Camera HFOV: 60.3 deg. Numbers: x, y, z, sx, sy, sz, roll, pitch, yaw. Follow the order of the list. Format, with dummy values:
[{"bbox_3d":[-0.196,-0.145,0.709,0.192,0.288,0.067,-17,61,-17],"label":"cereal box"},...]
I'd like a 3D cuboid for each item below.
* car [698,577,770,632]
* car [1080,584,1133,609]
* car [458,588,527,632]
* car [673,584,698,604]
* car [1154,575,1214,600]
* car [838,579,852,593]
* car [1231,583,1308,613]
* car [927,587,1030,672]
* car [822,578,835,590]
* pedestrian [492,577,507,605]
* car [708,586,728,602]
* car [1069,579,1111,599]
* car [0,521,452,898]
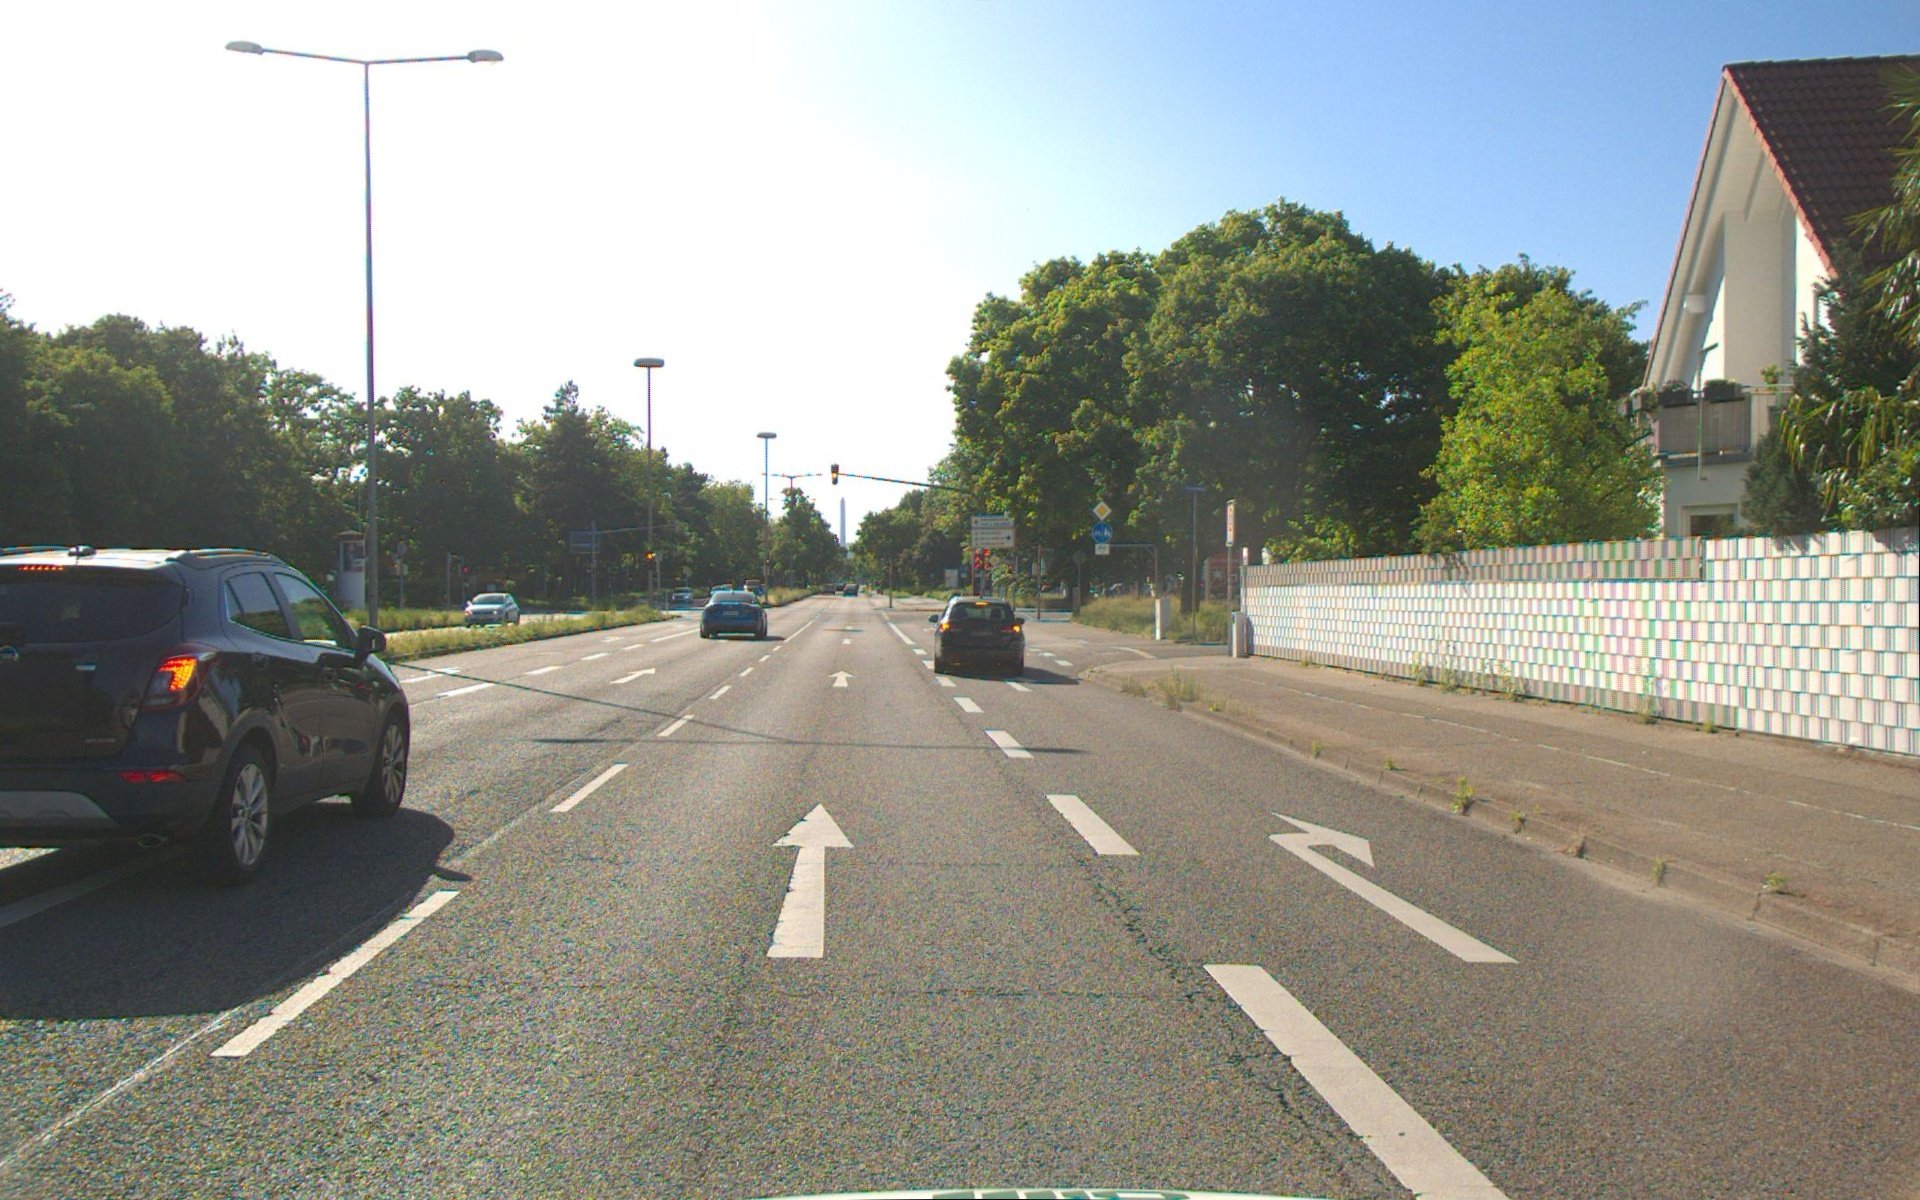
[{"bbox_3d":[-6.898,0.162,50.814,1.851,1.579,3.997,1,-1,-4],"label":"car"},{"bbox_3d":[11.112,-0.252,125.667,3.672,1.714,1.687,4,-1,-30],"label":"car"},{"bbox_3d":[-20.286,0.463,71.896,1.874,1.733,4.404,3,-1,-3],"label":"car"},{"bbox_3d":[-24.980,-0.554,150.456,1.827,1.713,4.257,0,0,-3],"label":"car"},{"bbox_3d":[15.834,-0.861,116.738,3.784,1.508,1.792,4,-1,-23],"label":"car"},{"bbox_3d":[-14.679,-1.725,210.660,1.698,1.612,3.837,3,-1,-4],"label":"car"},{"bbox_3d":[16.818,-0.116,89.975,3.751,1.485,1.737,2,0,-3],"label":"car"},{"bbox_3d":[0.320,0.586,32.876,1.721,1.535,3.805,2,-1,-4],"label":"car"},{"bbox_3d":[-19.066,-2.289,240.160,1.788,1.643,3.837,0,0,-4],"label":"car"},{"bbox_3d":[-32.315,-0.627,116.070,0.828,1.868,0.549,2,-3,0],"label":"pedestrian"},{"bbox_3d":[-27.567,-0.676,188.390,1.827,1.713,3.997,3,-1,-3],"label":"car"},{"bbox_3d":[12.507,-1.029,159.105,3.641,1.714,1.702,3,-1,-7],"label":"car"},{"bbox_3d":[-4.343,0.497,9.533,1.662,1.660,4.414,1,-1,-4],"label":"car"}]
